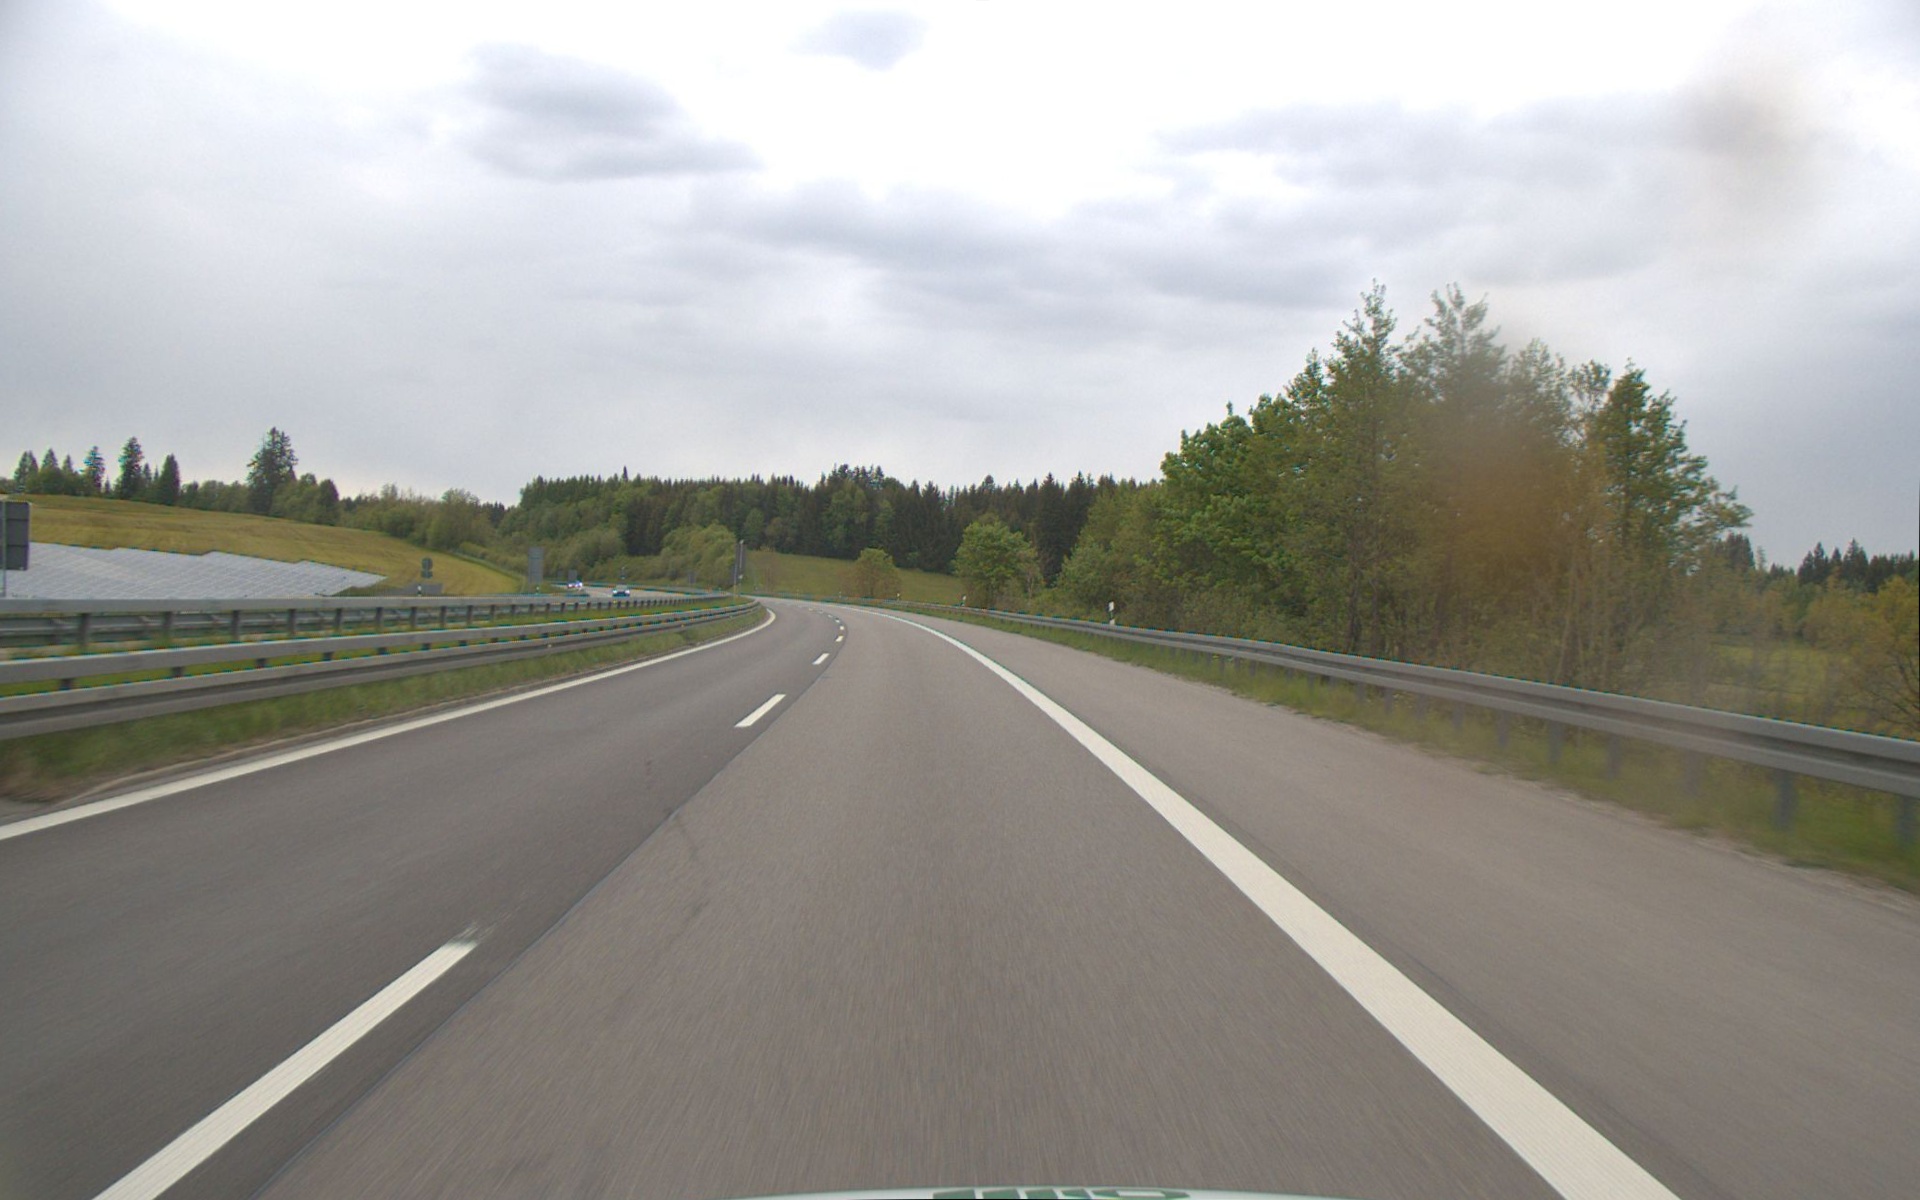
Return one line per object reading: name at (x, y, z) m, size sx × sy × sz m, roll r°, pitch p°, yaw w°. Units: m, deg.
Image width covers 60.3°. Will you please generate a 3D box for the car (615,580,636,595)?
car at (-36.779, -1.400, 181.825) m, size 1.956 × 1.524 × 4.143 m, roll 3°, pitch 0°, yaw -8°
